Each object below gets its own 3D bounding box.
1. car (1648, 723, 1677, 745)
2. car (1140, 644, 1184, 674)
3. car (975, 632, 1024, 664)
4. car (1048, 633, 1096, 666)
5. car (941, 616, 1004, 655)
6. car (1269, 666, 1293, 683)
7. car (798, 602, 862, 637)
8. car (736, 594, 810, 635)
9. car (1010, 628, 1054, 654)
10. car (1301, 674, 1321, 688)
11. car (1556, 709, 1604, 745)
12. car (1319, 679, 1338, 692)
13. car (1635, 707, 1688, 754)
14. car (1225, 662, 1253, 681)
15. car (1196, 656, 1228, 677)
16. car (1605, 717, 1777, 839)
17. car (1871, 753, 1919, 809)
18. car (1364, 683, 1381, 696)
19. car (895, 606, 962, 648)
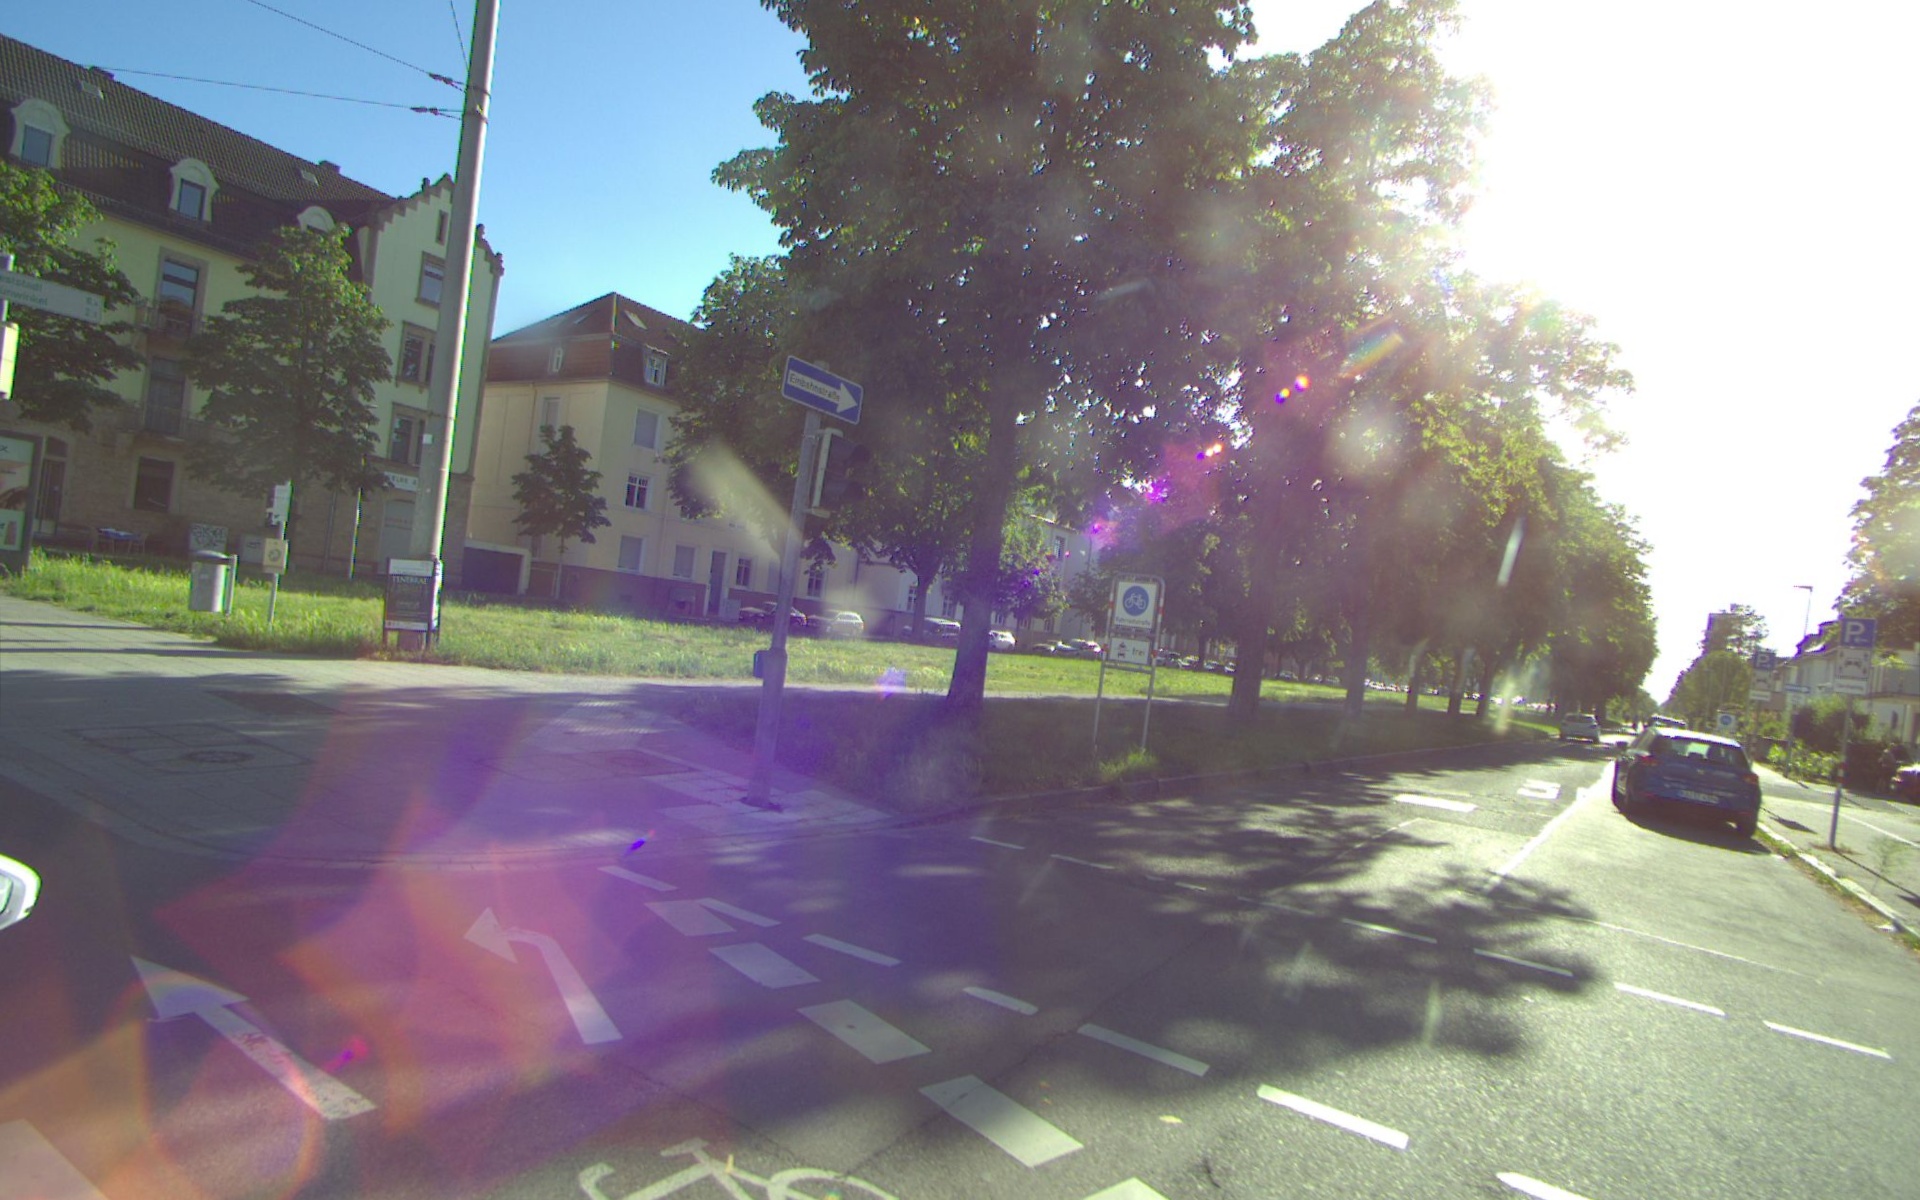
[{"bbox_3d":[57.618,10.978,82.531,1.797,1.450,3.990,7,-1,35],"label":"car"},{"bbox_3d":[18.145,5.335,90.141,1.898,2.053,4.654,8,-3,36],"label":"car"},{"bbox_3d":[3.090,3.744,78.313,1.897,1.902,3.700,8,-3,35],"label":"car"},{"bbox_3d":[8.530,3.776,76.268,1.897,1.902,3.700,8,-3,35],"label":"car"},{"bbox_3d":[0.837,2.339,64.933,1.897,1.902,4.061,8,-3,35],"label":"car"},{"bbox_3d":[38.021,8.819,119.013,1.624,1.535,3.399,8,-3,35],"label":"car"},{"bbox_3d":[-7.969,1.223,61.700,1.707,1.529,3.700,8,-3,35],"label":"car"},{"bbox_3d":[-10.720,0.852,57.940,1.799,1.623,3.845,10,-2,36],"label":"car"},{"bbox_3d":[5.913,3.383,82.533,1.709,1.621,3.696,7,-3,38],"label":"car"},{"bbox_3d":[51.865,11.964,148.703,1.708,1.621,3.699,7,-3,36],"label":"car"},{"bbox_3d":[31.326,6.416,50.783,1.648,1.449,3.886,5,-5,37],"label":"car"},{"bbox_3d":[57.983,13.423,158.359,1.708,1.621,3.699,7,-3,36],"label":"car"},{"bbox_3d":[32.202,6.028,46.237,1.788,1.844,3.994,5,-4,35],"label":"car"},{"bbox_3d":[28.801,7.397,103.694,1.624,1.535,3.399,8,-3,35],"label":"car"},{"bbox_3d":[24.641,6.477,98.282,1.626,1.535,3.394,7,-3,40],"label":"car"},{"bbox_3d":[12.172,2.881,17.007,1.786,1.450,3.994,8,-1,31],"label":"car"},{"bbox_3d":[30.935,5.868,31.058,3.835,1.489,1.755,7,-1,35],"label":"car"},{"bbox_3d":[65.437,14.197,159.496,1.624,1.535,3.399,8,-3,35],"label":"car"},{"bbox_3d":[-1.861,1.633,60.170,1.899,1.902,3.696,7,-3,38],"label":"car"}]
